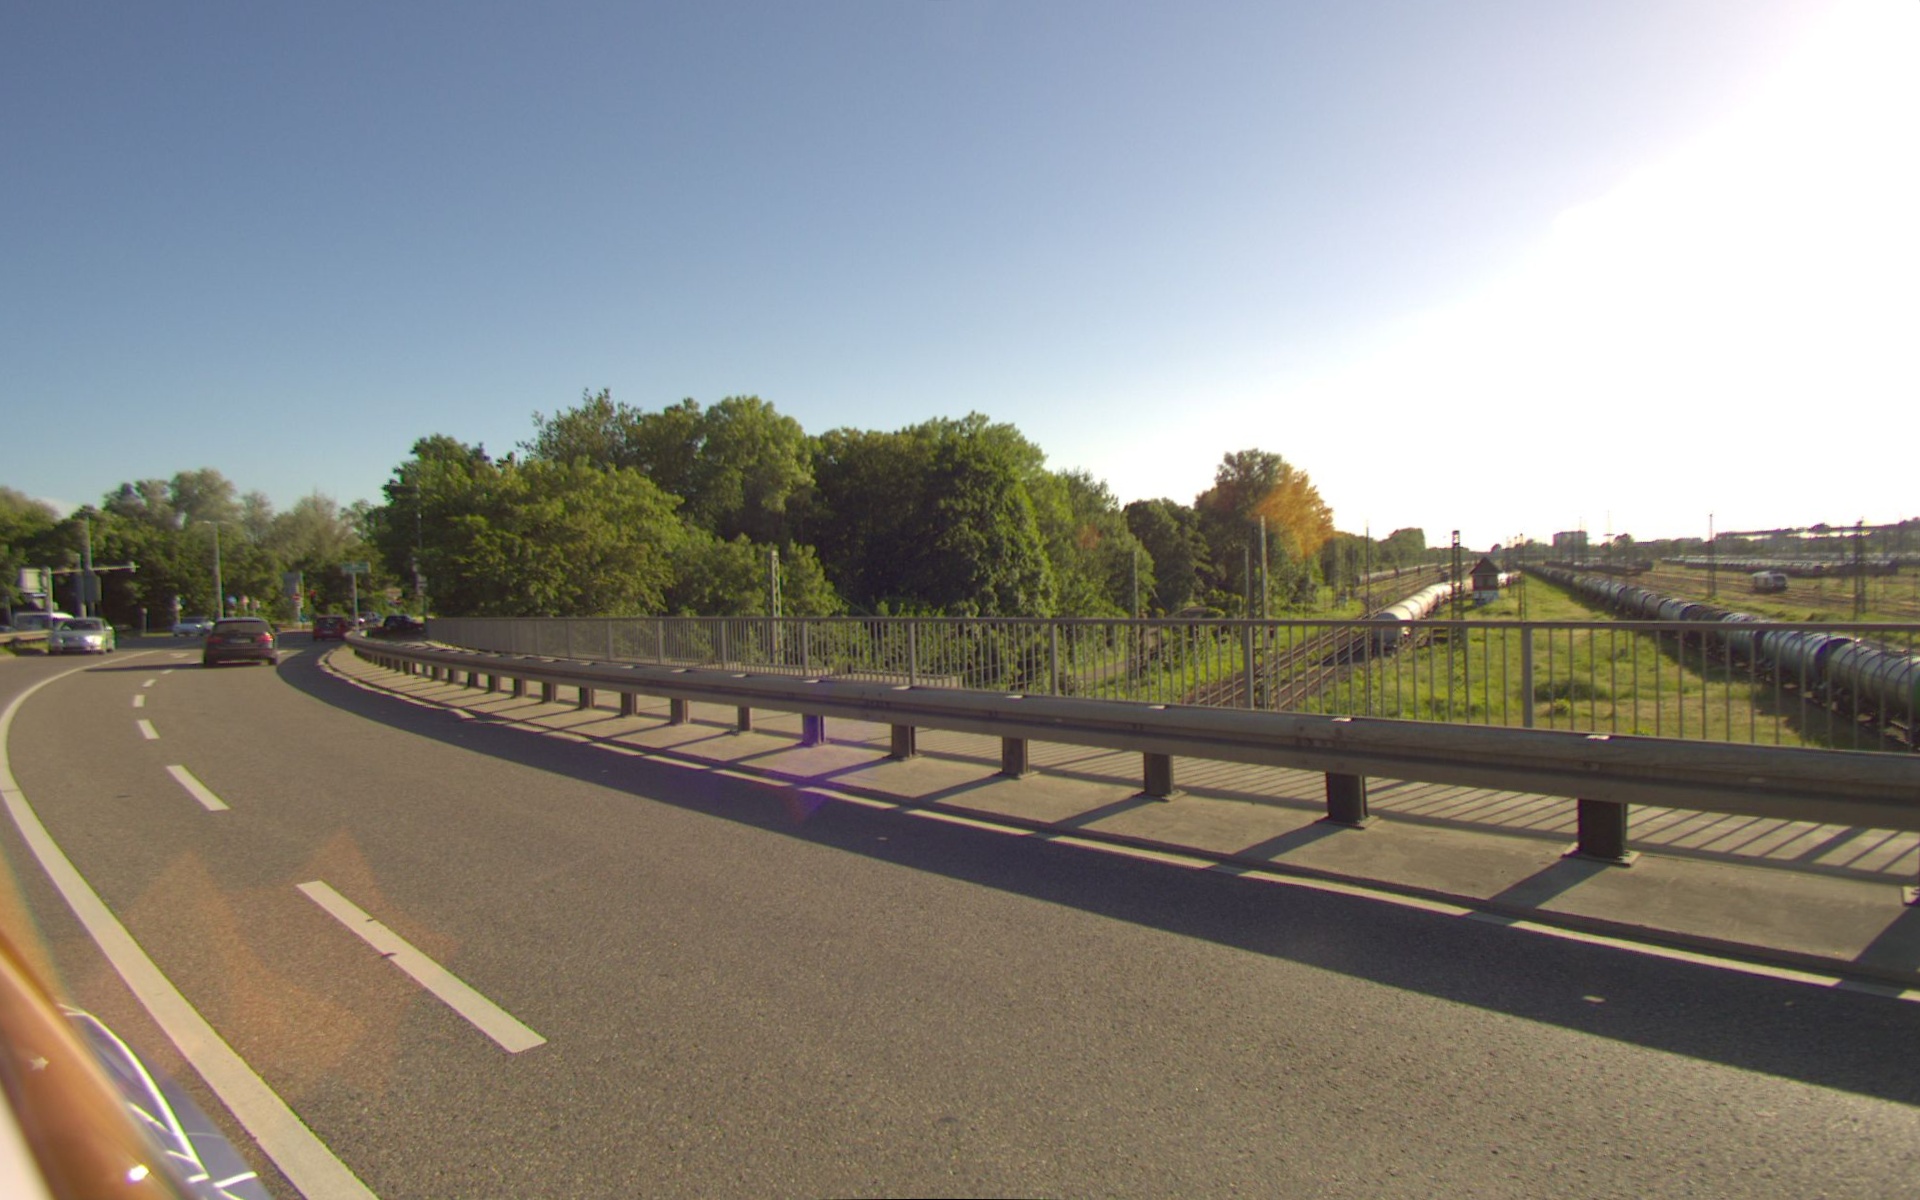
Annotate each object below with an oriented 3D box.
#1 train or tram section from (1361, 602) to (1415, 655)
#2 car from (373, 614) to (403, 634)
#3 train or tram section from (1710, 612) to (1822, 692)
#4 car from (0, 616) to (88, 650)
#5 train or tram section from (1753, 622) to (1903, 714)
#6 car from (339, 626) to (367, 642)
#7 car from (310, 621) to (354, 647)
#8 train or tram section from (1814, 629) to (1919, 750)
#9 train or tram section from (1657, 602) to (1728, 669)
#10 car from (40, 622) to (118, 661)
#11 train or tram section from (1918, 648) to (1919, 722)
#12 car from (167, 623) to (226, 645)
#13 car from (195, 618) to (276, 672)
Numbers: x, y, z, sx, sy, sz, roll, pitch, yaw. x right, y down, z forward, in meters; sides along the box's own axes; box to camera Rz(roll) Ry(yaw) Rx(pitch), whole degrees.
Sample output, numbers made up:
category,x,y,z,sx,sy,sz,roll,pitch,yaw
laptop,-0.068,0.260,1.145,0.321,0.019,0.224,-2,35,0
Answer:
category,x,y,z,sx,sy,sz,roll,pitch,yaw
train or tram section,46.101,2.861,108.480,4.028,5.125,19.177,-1,-1,27
car,-44.851,1.866,79.400,1.700,1.497,4.421,0,-1,-24
train or tram section,64.336,3.865,81.357,3.887,5.560,16.349,-1,-1,28
car,-77.571,2.804,85.709,5.626,2.518,2.115,-3,-1,0
train or tram section,56.807,4.142,66.934,3.887,5.054,16.212,-1,-1,28
car,-66.029,3.670,110.121,1.890,1.630,3.755,-1,-1,-21
car,-36.953,1.953,59.642,1.756,1.448,3.887,0,-1,-26
train or tram section,49.182,4.247,52.450,3.887,5.054,16.510,-1,-1,28
train or tram section,79.886,3.653,110.801,3.887,6.661,16.349,-1,-1,28
car,-35.110,1.617,40.432,1.736,1.447,4.342,-1,-1,-33
train or tram section,41.612,4.465,37.968,3.887,4.626,16.158,-1,-1,28
car,-57.252,2.532,75.986,1.962,1.484,4.140,-1,0,-12
car,-21.648,1.306,30.376,1.848,1.450,4.332,-1,-1,-34
